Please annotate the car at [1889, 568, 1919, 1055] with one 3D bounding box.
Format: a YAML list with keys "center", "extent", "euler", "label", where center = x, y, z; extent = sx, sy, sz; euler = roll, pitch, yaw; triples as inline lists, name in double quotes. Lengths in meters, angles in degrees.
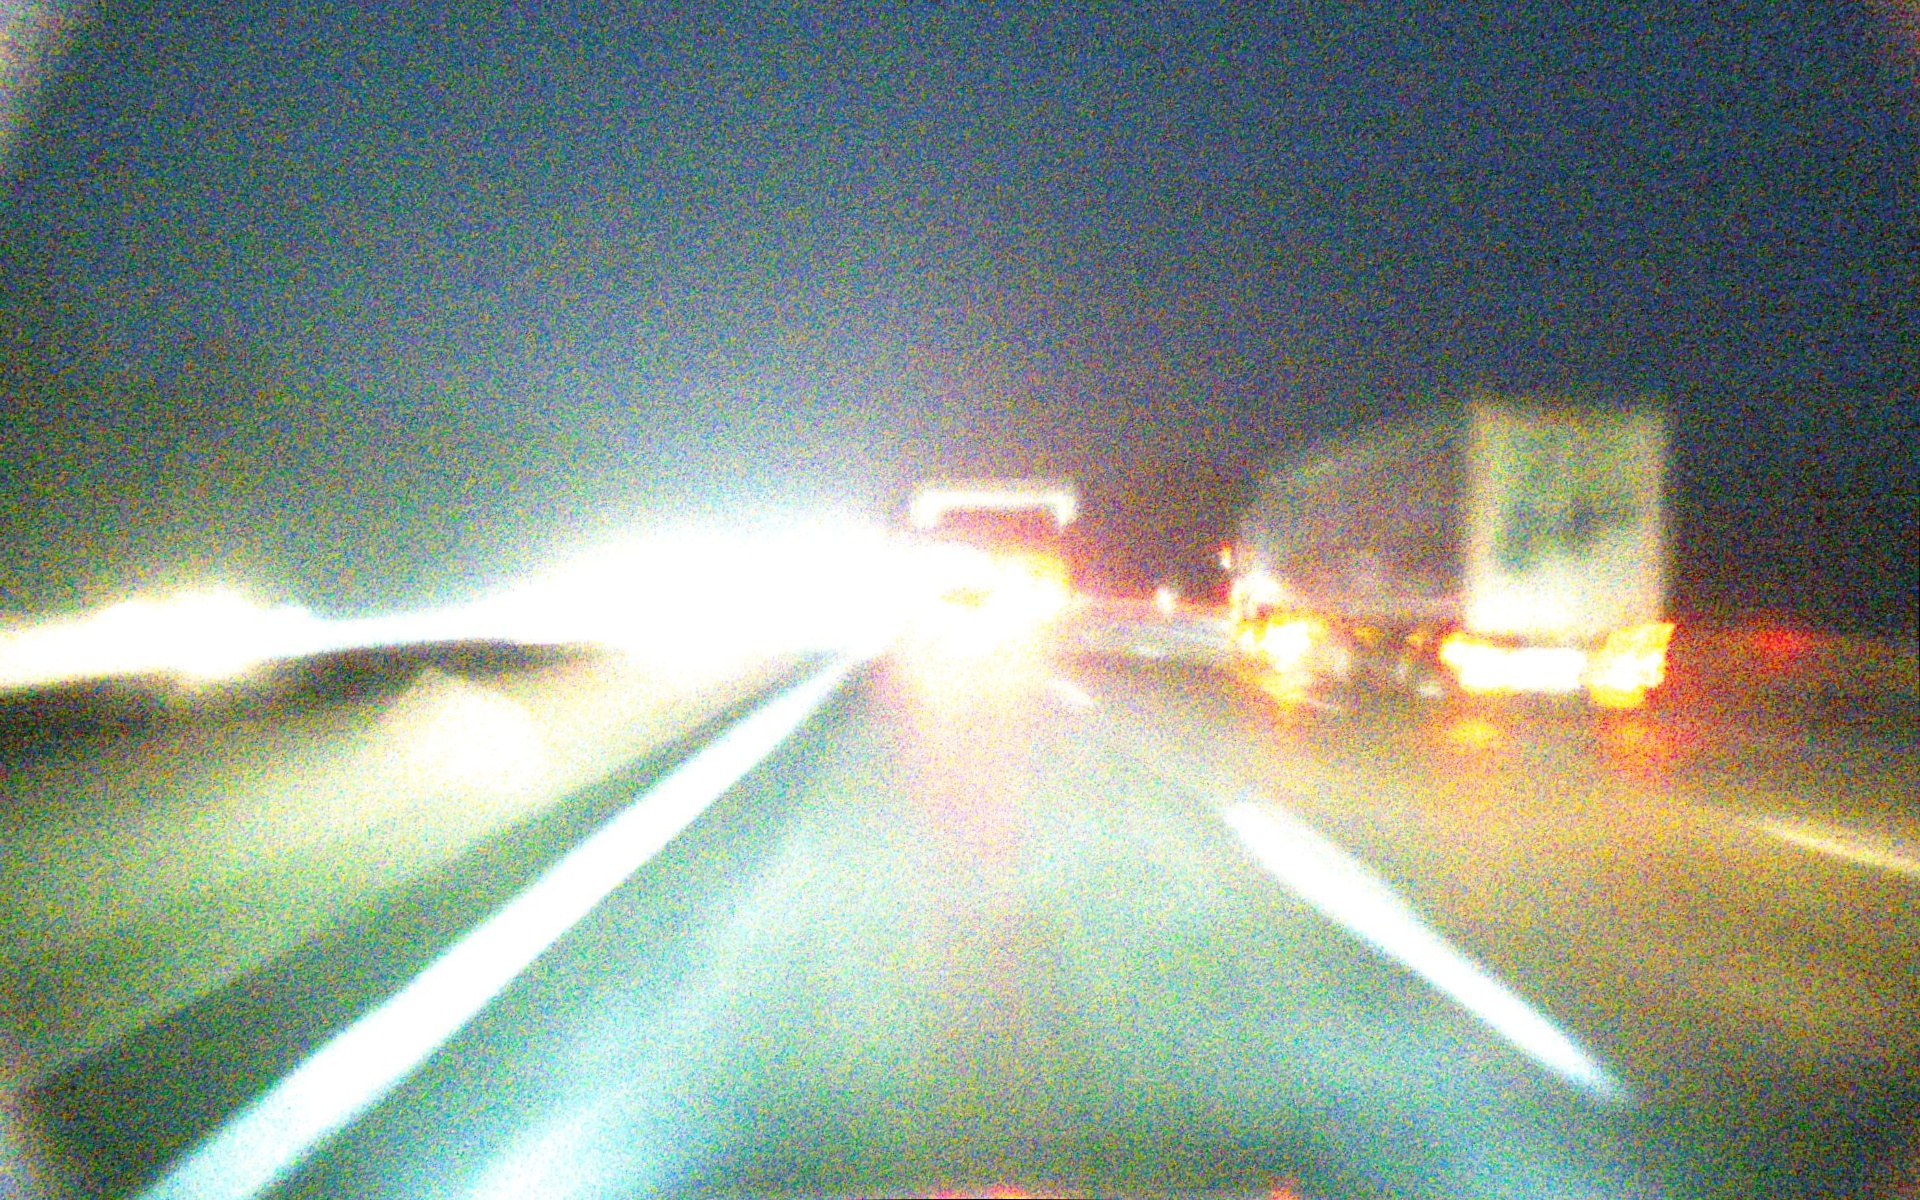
- center: [4.054, 0.694, 3.388]
  extent: [1.705, 1.603, 4.493]
  euler: [0, 0, -1]
  label: "car"

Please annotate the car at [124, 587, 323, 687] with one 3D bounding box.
- center: [-16.354, 0.761, 37.081]
  extent: [1.952, 2.049, 5.361]
  euler: [-1, 0, 1]
  label: "car"

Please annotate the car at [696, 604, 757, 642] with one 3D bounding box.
- center: [-9.744, 0.926, 69.414]
  extent: [1.953, 1.466, 4.436]
  euler: [-1, 0, -1]
  label: "car"

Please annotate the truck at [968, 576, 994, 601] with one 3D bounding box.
- center: [2.929, -1.627, 235.297]
  extent: [2.976, 3.355, 11.375]
  euler: [-2, 0, -2]
  label: "truck"

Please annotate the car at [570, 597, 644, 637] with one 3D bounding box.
- center: [-13.699, 0.639, 64.413]
  extent: [1.953, 1.466, 4.436]
  euler: [-1, 0, -1]
  label: "car"

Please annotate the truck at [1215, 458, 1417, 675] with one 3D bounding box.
- center: [7.438, -0.679, 35.406]
  extent: [2.844, 4.180, 6.029]
  euler: [-1, 0, -1]
  label: "truck"

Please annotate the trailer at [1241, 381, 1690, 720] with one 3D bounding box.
- center: [7.575, -0.669, 27.975]
  extent: [2.844, 4.180, 14.484]
  euler: [-1, 0, -1]
  label: "trailer"

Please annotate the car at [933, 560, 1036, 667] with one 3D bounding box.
- center: [0.438, 0.275, 33.950]
  extent: [1.953, 2.049, 3.999]
  euler: [1, -1, -1]
  label: "car"

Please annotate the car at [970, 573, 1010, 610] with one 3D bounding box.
- center: [1.770, -0.491, 97.977]
  extent: [1.954, 2.049, 3.996]
  euler: [-2, 0, -4]
  label: "car"

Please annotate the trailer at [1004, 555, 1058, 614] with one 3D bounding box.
- center: [5.414, -1.106, 128.681]
  extent: [2.980, 4.180, 13.821]
  euler: [-2, 0, -2]
  label: "trailer"
